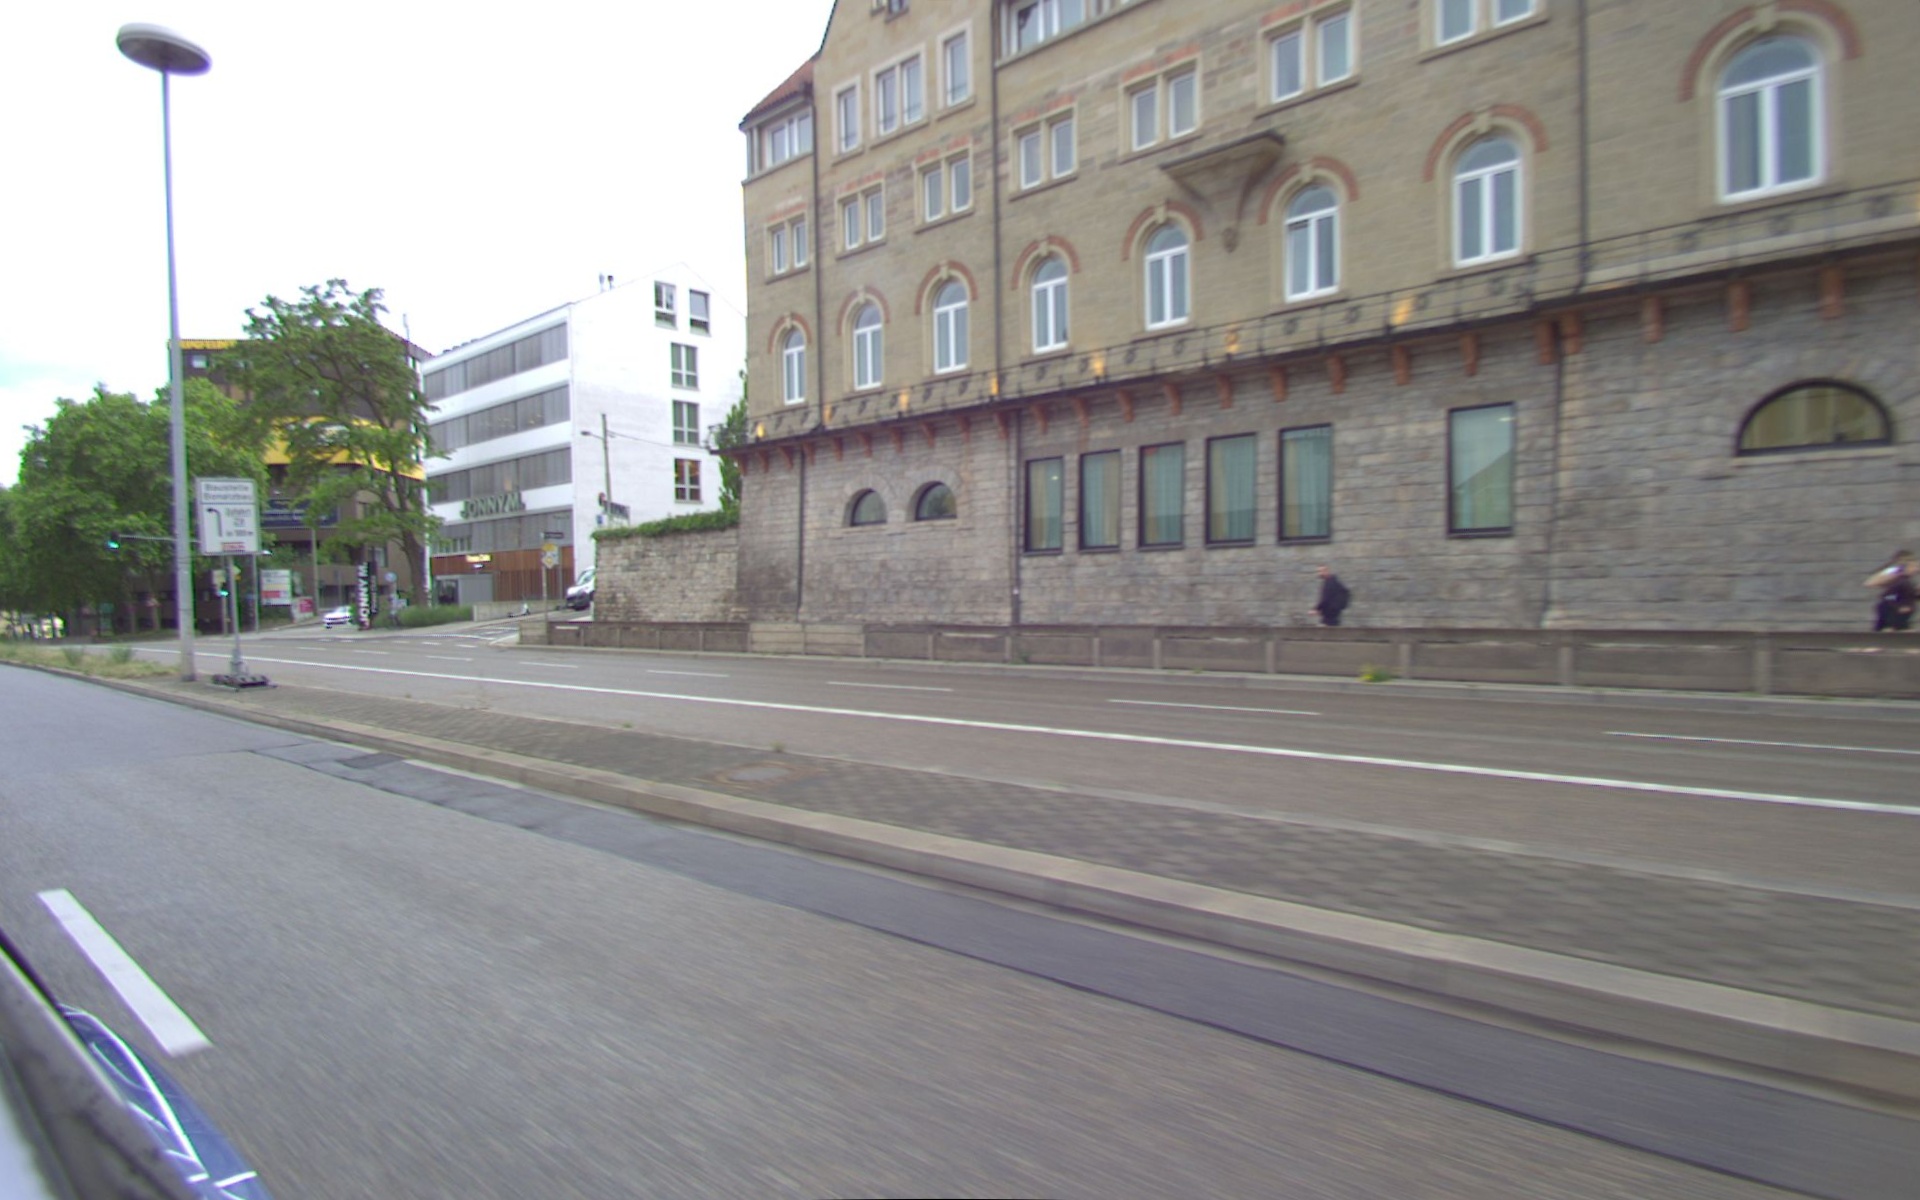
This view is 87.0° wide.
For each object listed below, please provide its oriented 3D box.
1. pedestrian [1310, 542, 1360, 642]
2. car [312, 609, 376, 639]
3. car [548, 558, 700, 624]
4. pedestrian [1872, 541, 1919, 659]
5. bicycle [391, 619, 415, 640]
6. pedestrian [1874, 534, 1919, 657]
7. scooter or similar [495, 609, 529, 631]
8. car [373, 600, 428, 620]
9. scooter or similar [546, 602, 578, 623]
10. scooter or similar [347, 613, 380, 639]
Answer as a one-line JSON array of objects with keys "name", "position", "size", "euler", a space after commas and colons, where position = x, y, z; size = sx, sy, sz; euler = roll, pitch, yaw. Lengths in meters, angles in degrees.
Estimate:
[{"name": "pedestrian", "position": [6.808, -0.135, 18.380], "size": [0.620, 1.759, 0.634], "euler": [-3, -2, 39]}, {"name": "car", "position": [-40.249, 1.516, 66.274], "size": [1.967, 1.666, 4.855], "euler": [-3, 2, -11]}, {"name": "car", "position": [-17.063, -0.511, 51.830], "size": [2.513, 2.291, 6.836], "euler": [-7, 3, 41]}, {"name": "pedestrian", "position": [12.410, 0.003, 13.162], "size": [0.713, 1.489, 0.746], "euler": [-3, -2, 40]}, {"name": "bicycle", "position": [-28.002, 1.485, 50.876], "size": [1.757, 0.999, 0.452], "euler": [-2, 0, 41]}, {"name": "pedestrian", "position": [11.868, -0.050, 12.532], "size": [0.713, 1.489, 0.746], "euler": [-3, -2, 40]}, {"name": "scooter or similar", "position": [-22.485, 0.997, 50.848], "size": [0.443, 0.928, 1.455], "euler": [-3, 3, 38]}, {"name": "car", "position": [-50.859, 0.886, 92.097], "size": [3.938, 1.696, 1.823], "euler": [-2, 0, -6]}, {"name": "scooter or similar", "position": [-20.705, 0.653, 52.613], "size": [0.443, 0.928, 1.455], "euler": [-3, 3, 38]}, {"name": "scooter or similar", "position": [-31.403, 1.364, 53.336], "size": [0.366, 1.256, 1.750], "euler": [-2, 2, 11]}]
